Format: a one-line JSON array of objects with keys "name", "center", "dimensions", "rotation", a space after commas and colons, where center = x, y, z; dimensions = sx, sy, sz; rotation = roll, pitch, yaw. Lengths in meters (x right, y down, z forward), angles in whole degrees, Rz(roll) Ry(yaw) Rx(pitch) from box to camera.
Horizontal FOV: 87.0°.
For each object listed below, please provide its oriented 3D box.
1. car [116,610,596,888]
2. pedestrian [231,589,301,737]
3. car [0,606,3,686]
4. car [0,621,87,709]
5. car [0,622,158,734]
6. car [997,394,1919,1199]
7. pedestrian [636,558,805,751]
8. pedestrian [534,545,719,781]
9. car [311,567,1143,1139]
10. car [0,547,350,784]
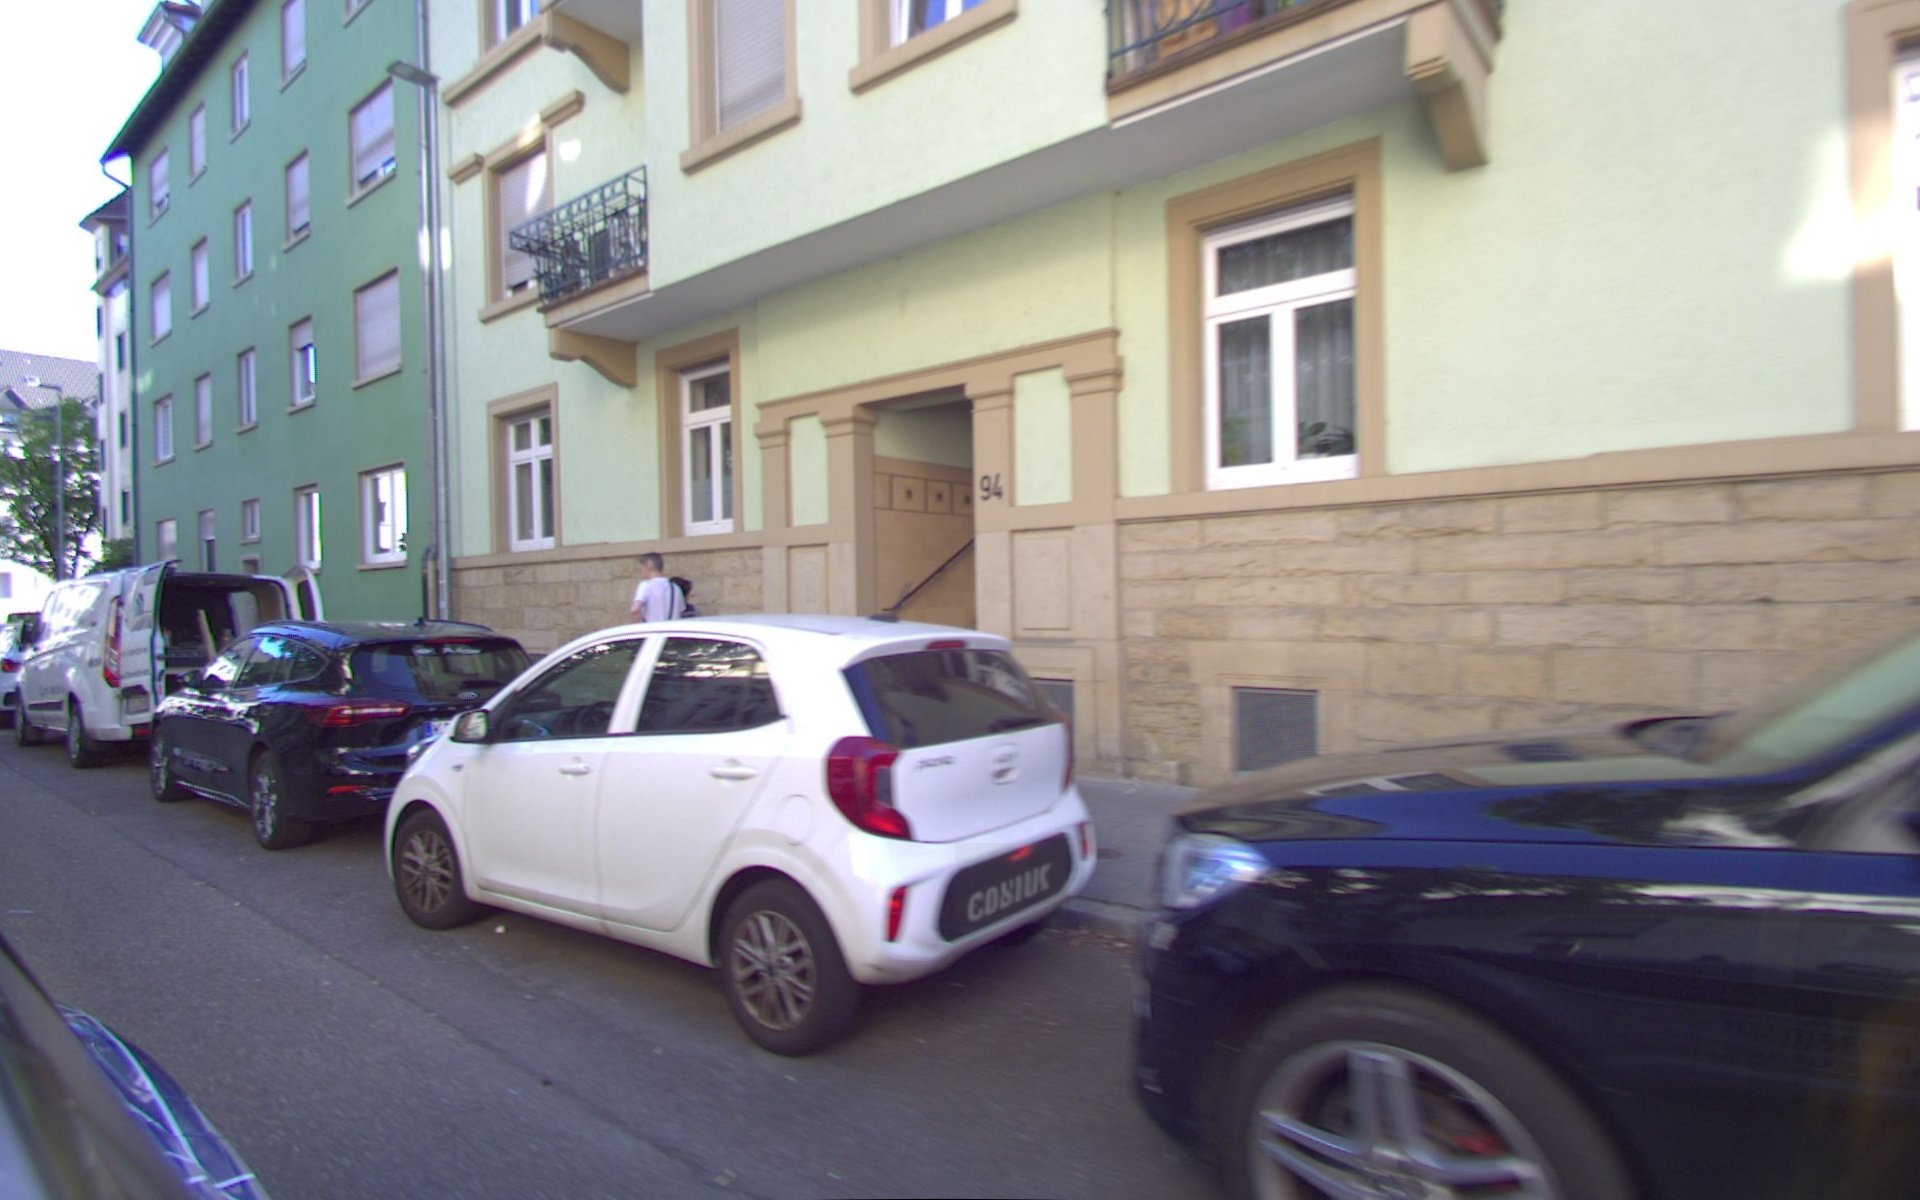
[{"name": "car", "center": [-4.902, 0.872, 7.866], "dimensions": [4.821, 1.533, 1.748], "rotation": [-1, -1, 40]}, {"name": "pedestrian", "center": [-8.755, 0.772, 12.756], "dimensions": [0.844, 1.800, 0.480], "rotation": [-1, 0, 40]}, {"name": "car", "center": [-24.333, 1.044, 23.667], "dimensions": [4.401, 1.857, 1.758], "rotation": [0, -2, 32]}, {"name": "car", "center": [-17.734, 1.121, 18.553], "dimensions": [4.499, 1.473, 1.704], "rotation": [-1, -2, 37]}, {"name": "car", "center": [-13.892, 1.080, 15.321], "dimensions": [4.358, 1.473, 1.815], "rotation": [-1, -2, 39]}, {"name": "car", "center": [2.577, 0.573, 1.508], "dimensions": [4.965, 1.698, 1.856], "rotation": [-1, -2, 40]}, {"name": "pedestrian", "center": [-2.280, 0.478, 9.621], "dimensions": [1.242, 1.687, 0.983], "rotation": [-1, 0, 39]}, {"name": "pedestrian", "center": [-2.909, 0.502, 8.826], "dimensions": [1.242, 1.875, 0.983], "rotation": [-1, 0, 39]}, {"name": "car", "center": [-1.354, 0.703, 4.701], "dimensions": [4.085, 1.563, 1.619], "rotation": [0, -1, 39]}, {"name": "car", "center": [-9.461, 0.659, 11.849], "dimensions": [5.236, 2.185, 2.230], "rotation": [-1, -2, 38]}]
